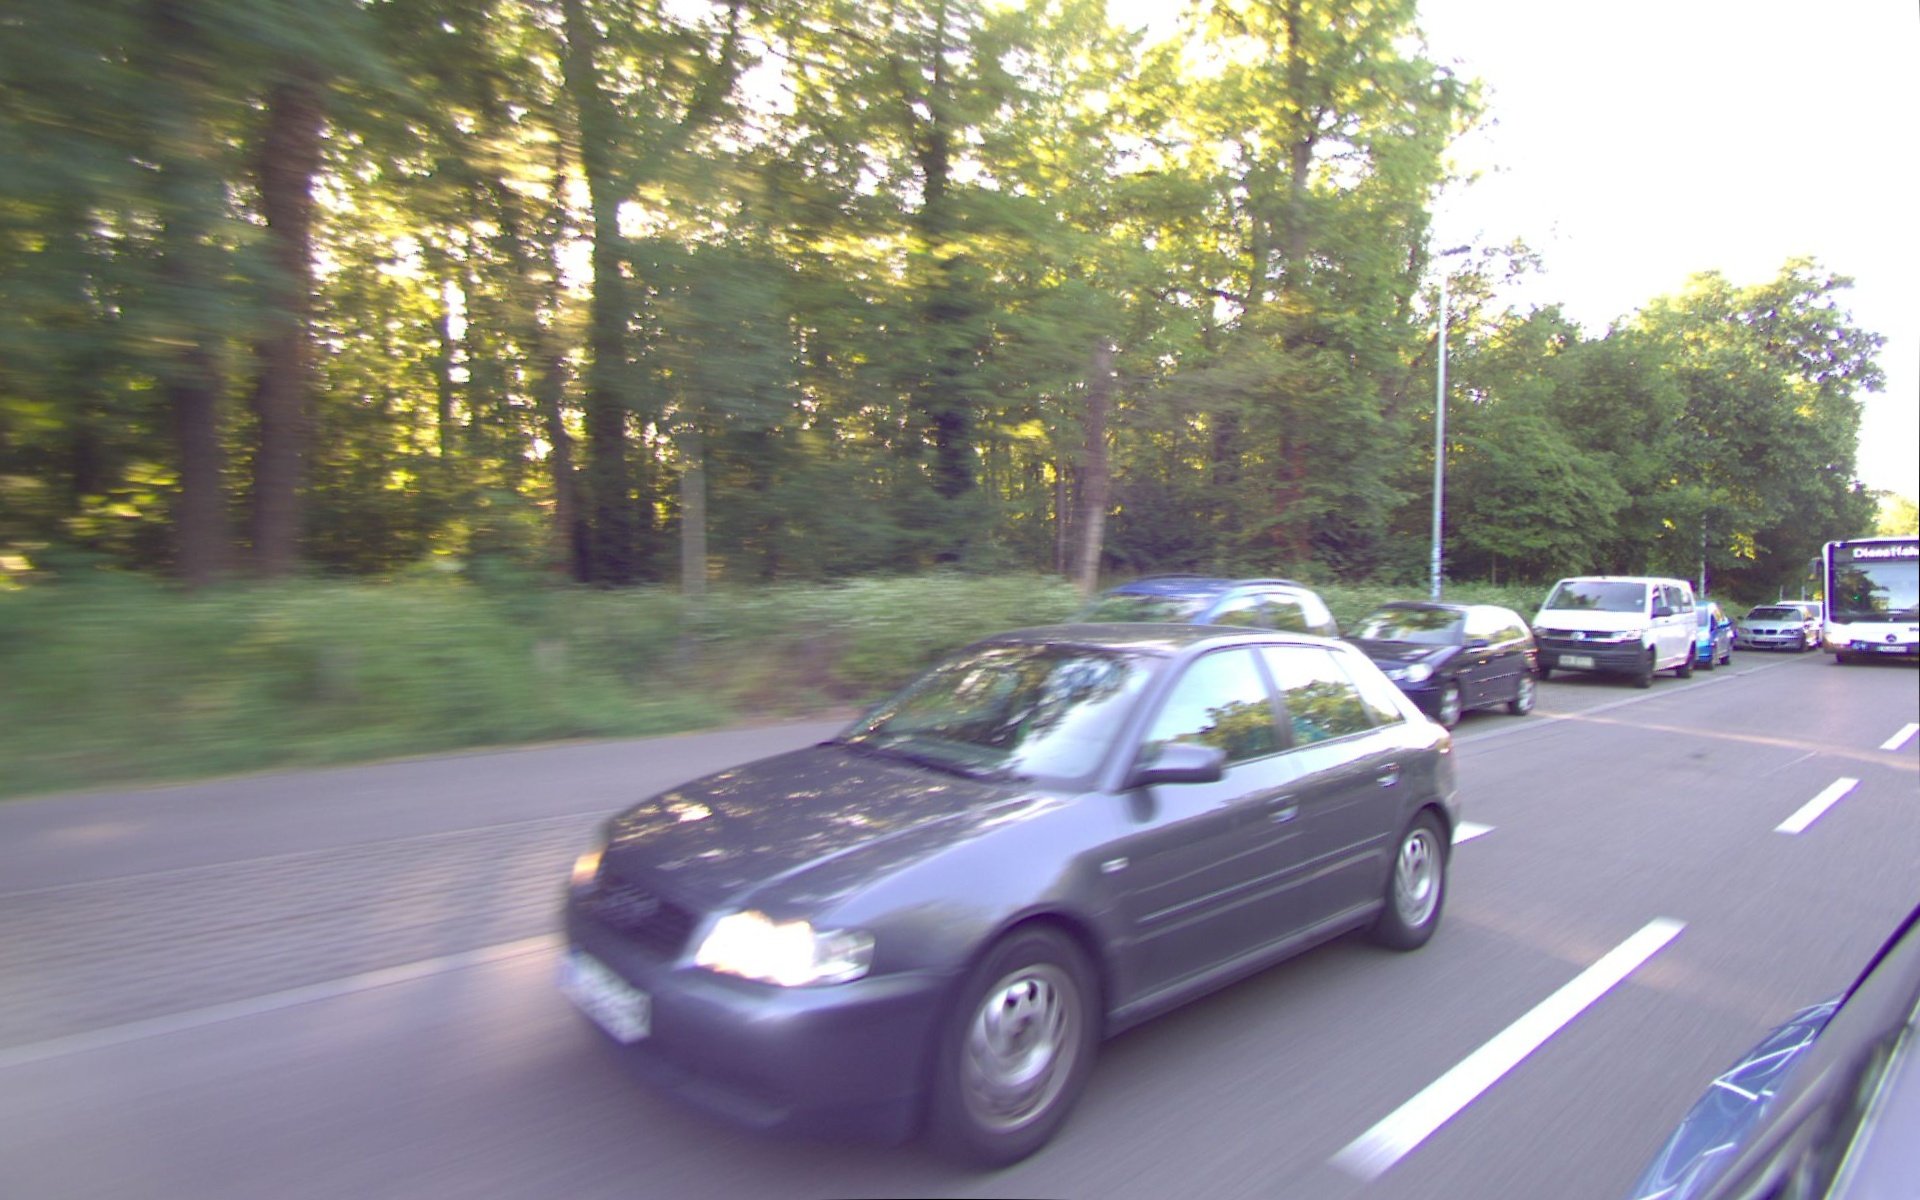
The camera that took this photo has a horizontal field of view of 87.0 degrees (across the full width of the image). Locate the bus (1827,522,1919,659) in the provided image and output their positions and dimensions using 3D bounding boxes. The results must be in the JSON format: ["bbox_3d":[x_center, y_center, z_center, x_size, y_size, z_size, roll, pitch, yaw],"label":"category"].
[{"bbox_3d":[26.061,-0.203,27.461,12.674,3.086,2.807,0,0,-45],"label":"bus"}]

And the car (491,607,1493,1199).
[{"bbox_3d":[0.464,0.738,4.022,3.925,1.376,1.677,0,0,-42],"label":"car"}]

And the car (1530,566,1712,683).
[{"bbox_3d":[12.727,0.382,19.332,5.180,1.945,1.816,-1,0,-44],"label":"car"}]

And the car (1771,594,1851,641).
[{"bbox_3d":[29.059,0.558,34.535,3.764,1.506,1.593,-1,0,-42],"label":"car"}]

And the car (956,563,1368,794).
[{"bbox_3d":[1.965,0.524,9.275,3.764,1.654,1.817,-1,2,-42],"label":"car"}]

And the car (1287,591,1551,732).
[{"bbox_3d":[5.908,0.649,12.835,3.766,1.497,1.816,-1,0,-44],"label":"car"}]

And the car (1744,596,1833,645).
[{"bbox_3d":[25.585,0.583,31.212,3.764,1.400,1.593,-1,0,-42],"label":"car"}]

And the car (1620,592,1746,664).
[{"bbox_3d":[16.950,0.596,23.660,1.815,1.529,3.768,0,0,45],"label":"car"}]
